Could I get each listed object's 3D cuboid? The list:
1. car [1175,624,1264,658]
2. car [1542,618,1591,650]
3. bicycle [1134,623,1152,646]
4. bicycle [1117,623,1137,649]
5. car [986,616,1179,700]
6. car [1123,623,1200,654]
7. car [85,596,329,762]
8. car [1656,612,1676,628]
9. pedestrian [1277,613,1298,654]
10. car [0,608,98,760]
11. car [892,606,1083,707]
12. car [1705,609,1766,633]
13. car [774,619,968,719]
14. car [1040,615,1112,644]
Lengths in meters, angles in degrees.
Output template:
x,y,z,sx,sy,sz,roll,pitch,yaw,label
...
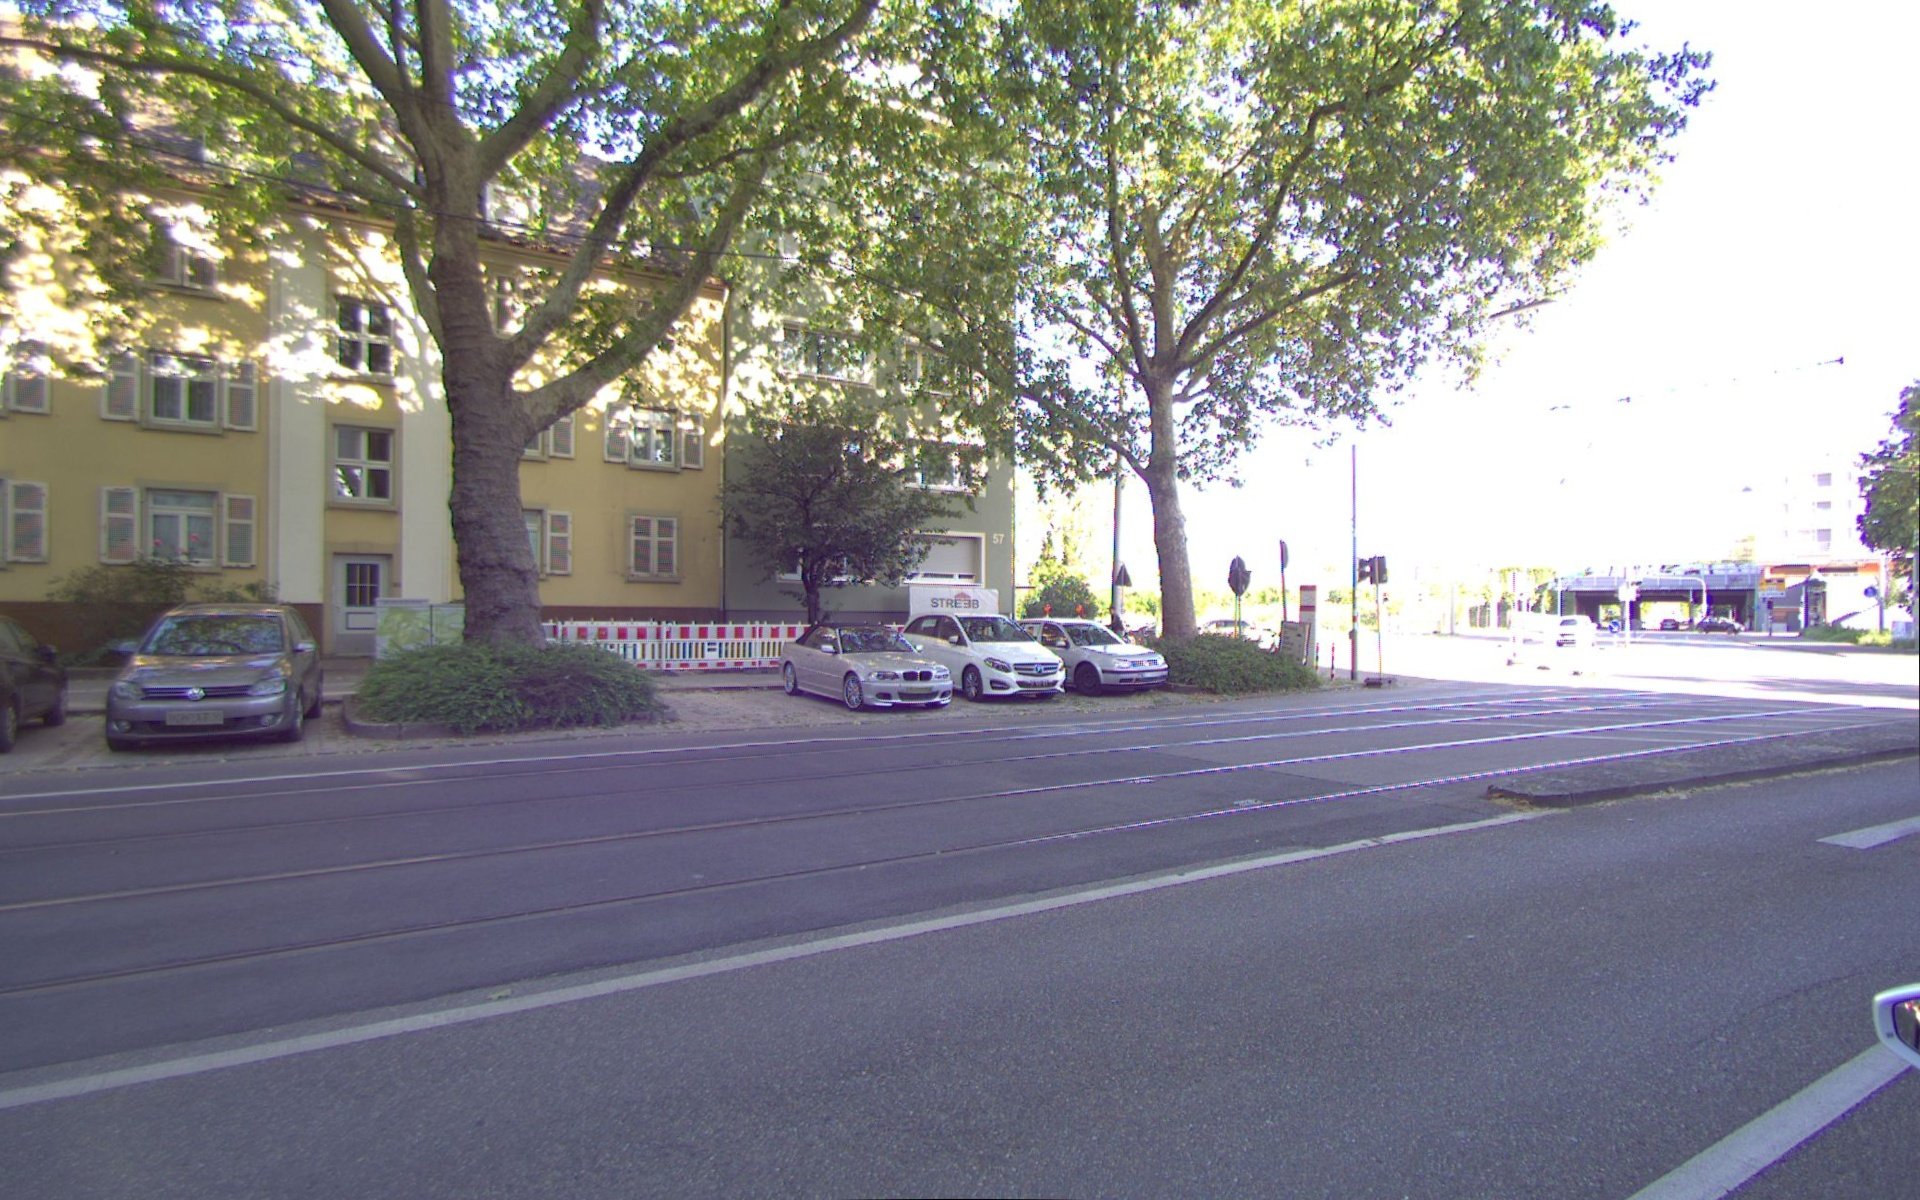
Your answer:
x,y,z,sx,sy,sz,roll,pitch,yaw,label
13.389,2.072,51.839,4.221,1.551,2.096,2,0,20,car
33.515,1.857,55.610,1.963,1.653,4.625,0,-1,26,car
6.295,1.184,34.564,0.351,0.769,1.781,0,-1,1,bicycle
5.386,1.149,32.363,0.351,0.769,1.781,0,-1,18,bicycle
2.405,1.120,20.559,1.688,1.436,3.960,2,0,-36,car
11.557,2.173,57.661,3.933,1.439,1.887,0,5,35,car
-8.978,0.816,12.332,1.822,1.641,4.052,2,0,-29,car
93.282,2.685,132.703,1.966,2.040,3.989,2,0,34,car
13.253,1.344,40.625,0.591,1.617,0.682,2,0,35,pedestrian
-11.415,0.866,11.421,1.673,1.466,3.834,2,0,-29,car
0.404,0.987,19.177,1.822,1.633,4.052,2,0,-29,car
71.094,1.948,92.111,1.978,2.040,3.966,2,0,-31,car
-1.660,1.090,17.286,1.822,1.387,4.052,2,0,-29,car
7.045,1.757,61.045,3.933,1.439,1.887,0,5,35,car
